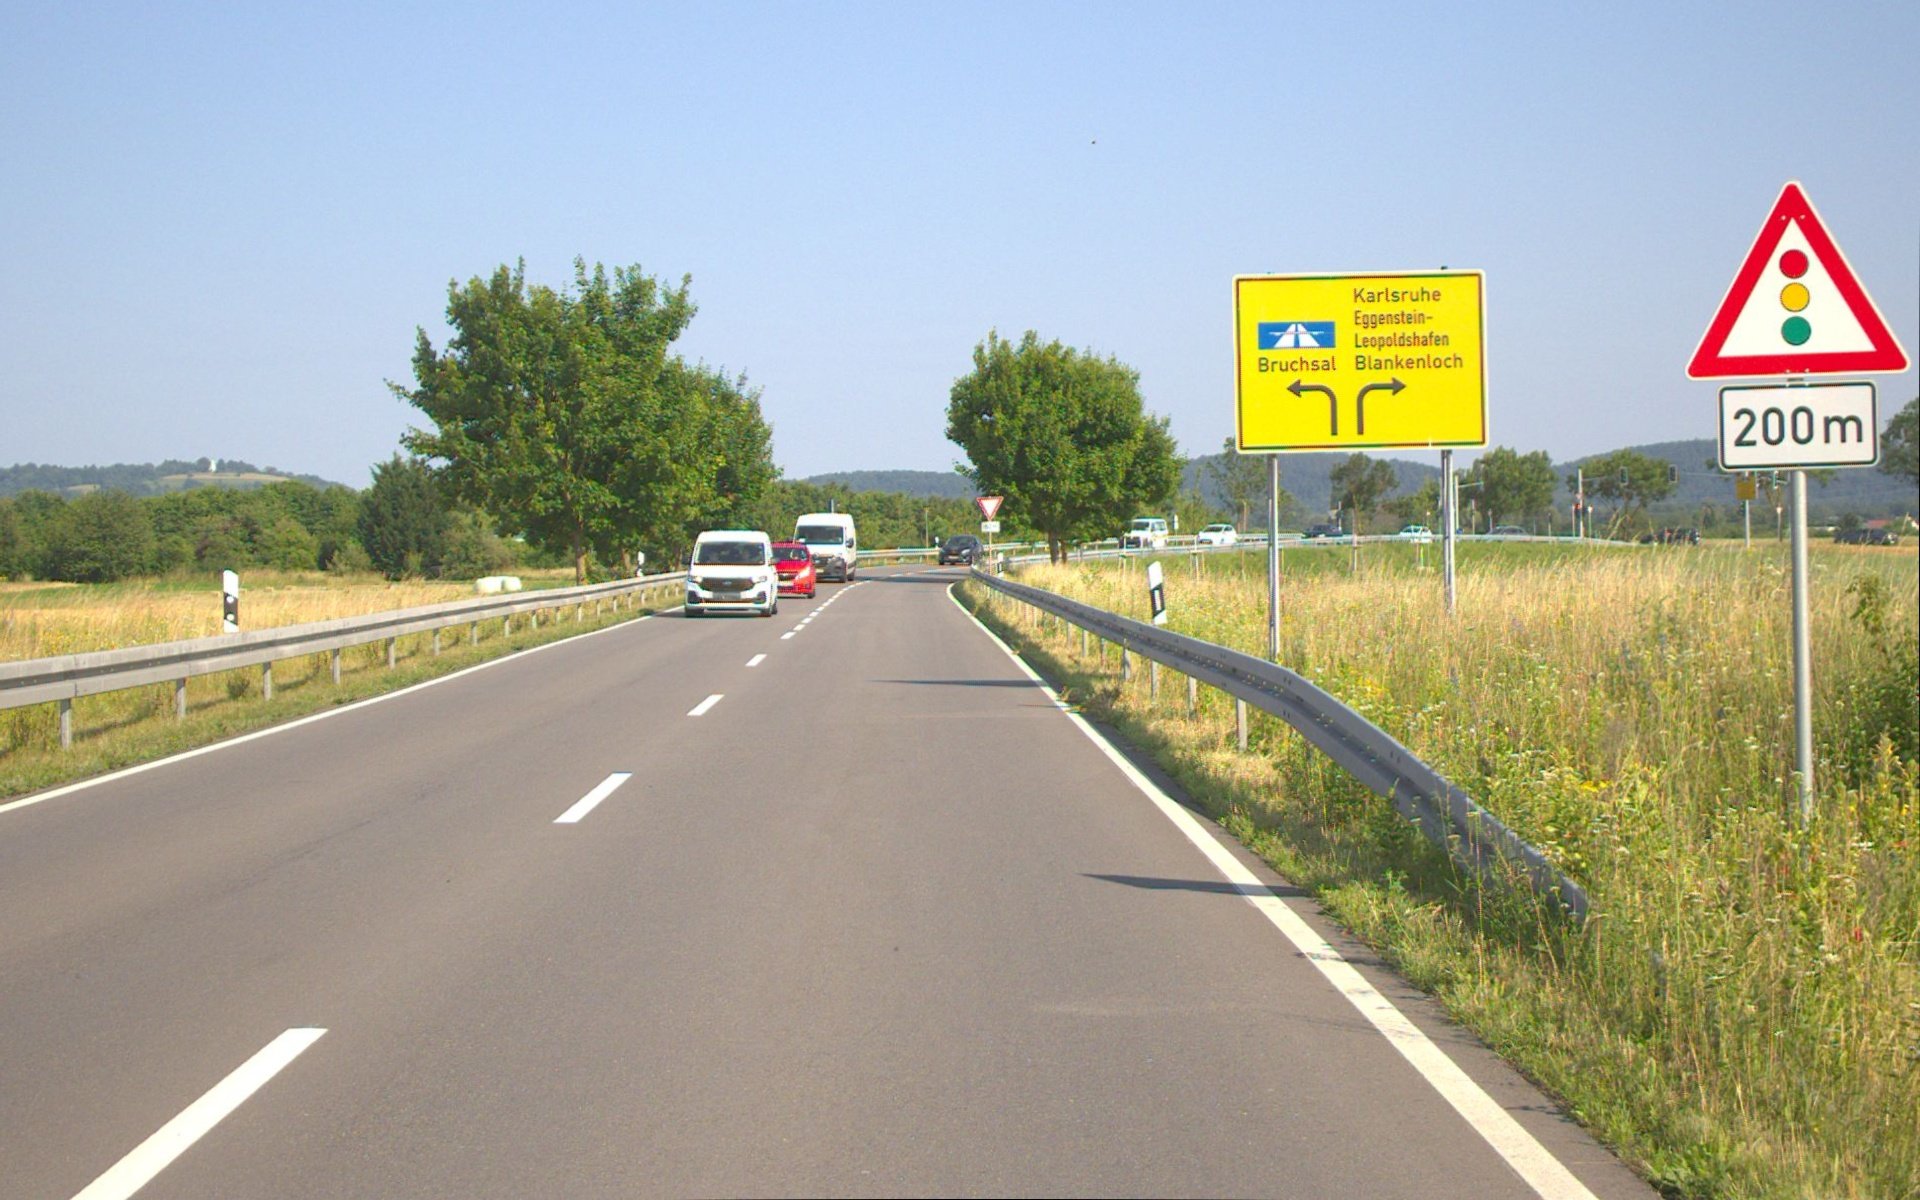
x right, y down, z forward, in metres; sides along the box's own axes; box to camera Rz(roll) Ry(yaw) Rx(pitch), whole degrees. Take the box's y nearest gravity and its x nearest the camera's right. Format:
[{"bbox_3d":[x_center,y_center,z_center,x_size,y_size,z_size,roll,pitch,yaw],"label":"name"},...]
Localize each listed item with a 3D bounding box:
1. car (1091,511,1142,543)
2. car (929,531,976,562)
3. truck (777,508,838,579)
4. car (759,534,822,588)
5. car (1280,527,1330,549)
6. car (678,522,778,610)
[{"bbox_3d":[9.299,-4.305,203.649,1.995,1.878,4.588,1,1,16],"label":"car"},{"bbox_3d":[-0.345,-2.611,167.908,1.645,1.466,3.805,0,1,10],"label":"car"},{"bbox_3d":[-5.536,-2.060,125.398,1.993,2.511,6.244,0,1,-1],"label":"truck"},{"bbox_3d":[-4.711,-1.099,95.757,1.606,1.483,3.780,0,1,-1],"label":"car"},{"bbox_3d":[23.874,-4.276,237.874,1.996,1.527,4.585,1,1,26],"label":"car"},{"bbox_3d":[-4.869,-0.743,72.578,1.836,1.780,4.435,-1,1,0],"label":"car"}]
